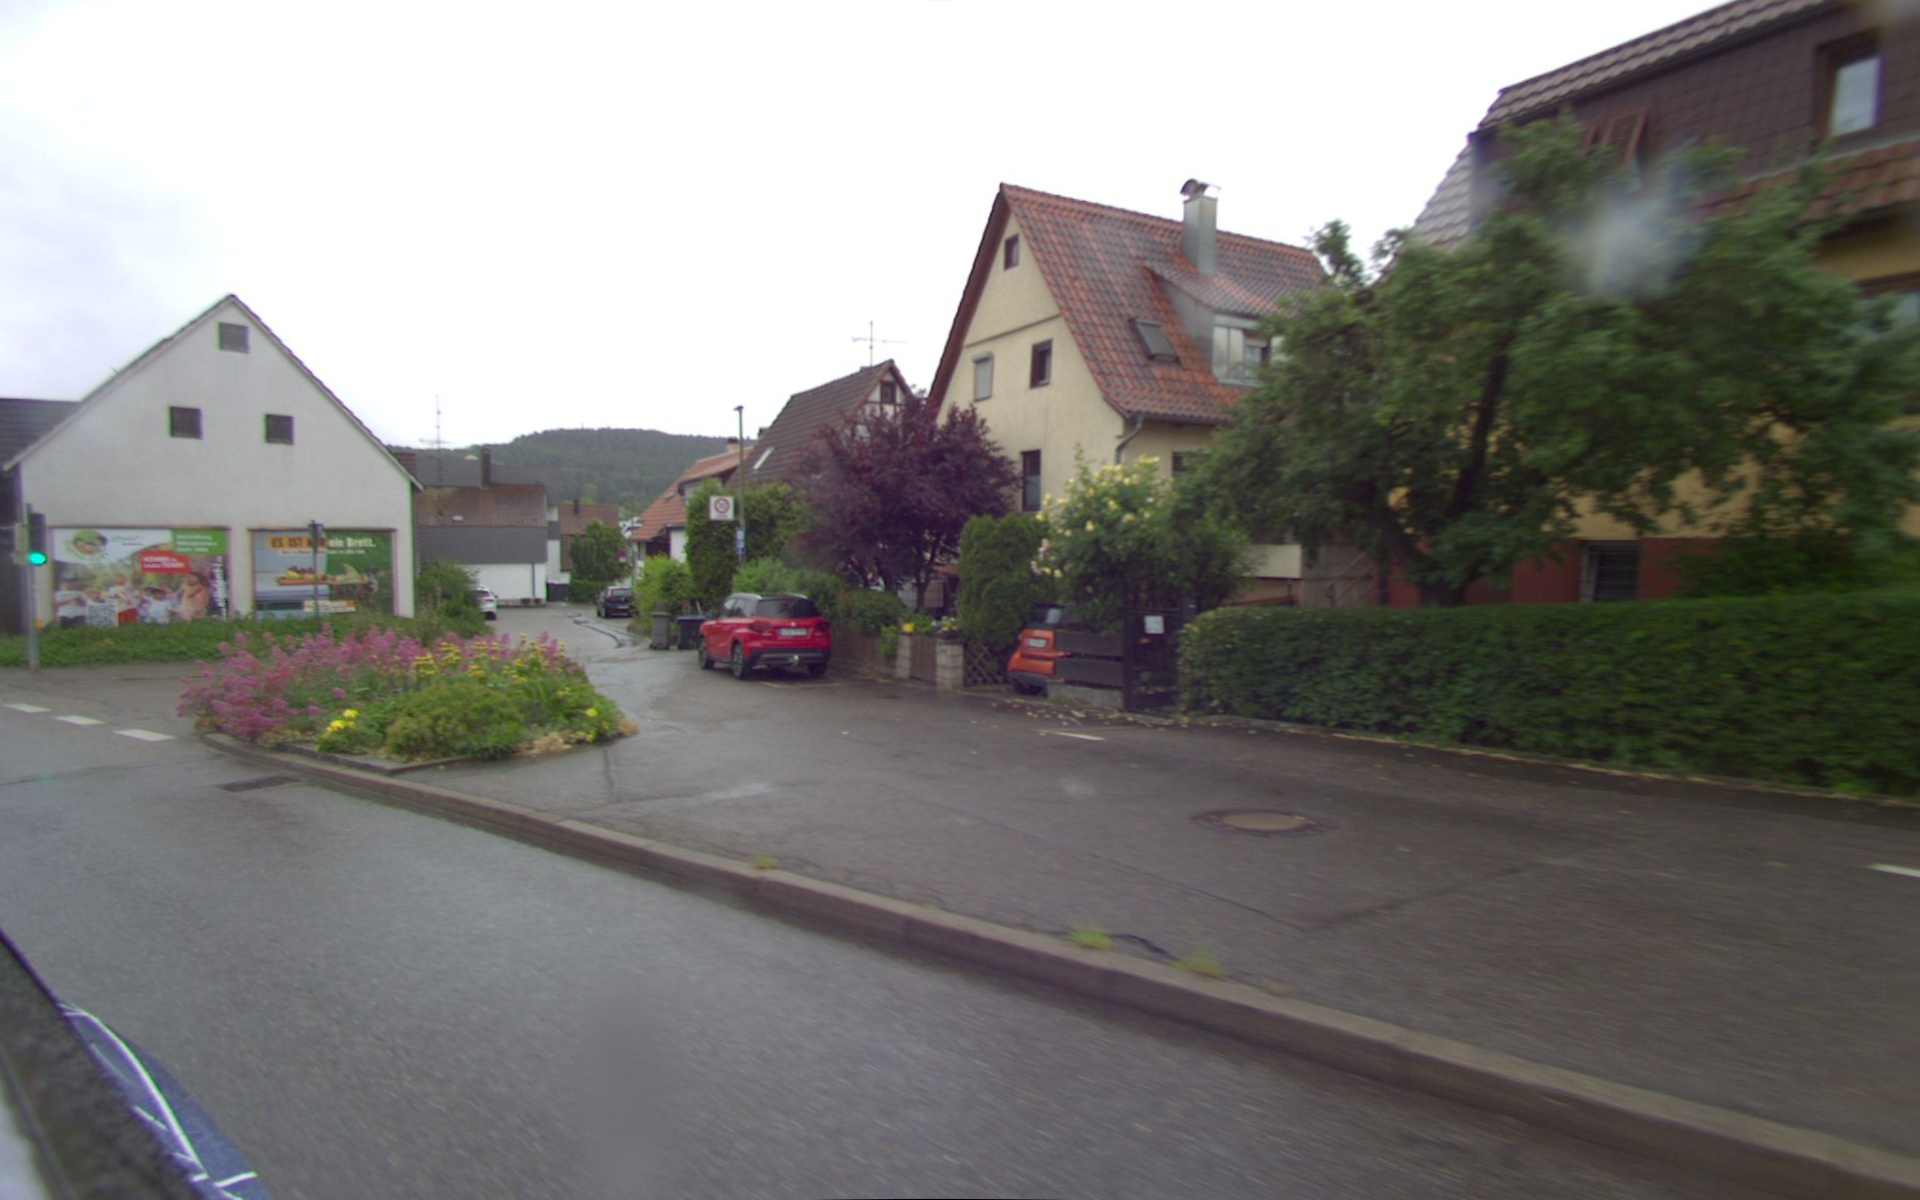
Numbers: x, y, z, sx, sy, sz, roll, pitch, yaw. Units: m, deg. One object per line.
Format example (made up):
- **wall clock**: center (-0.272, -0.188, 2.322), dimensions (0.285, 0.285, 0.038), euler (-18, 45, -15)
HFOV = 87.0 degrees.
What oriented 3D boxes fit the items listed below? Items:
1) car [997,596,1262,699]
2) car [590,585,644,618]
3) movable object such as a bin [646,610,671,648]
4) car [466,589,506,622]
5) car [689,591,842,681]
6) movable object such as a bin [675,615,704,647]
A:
- **car**: center (2.776, 0.682, 16.383), dimensions (3.932, 1.394, 1.869), euler (-2, 0, -31)
- **car**: center (-16.607, 0.063, 48.886), dimensions (1.700, 1.504, 3.981), euler (-1, 0, -30)
- **movable object such as a bin**: center (-8.617, 0.831, 28.944), dimensions (0.569, 1.053, 0.653), euler (-1, 0, -26)
- **car**: center (-21.937, 0.210, 46.791), dimensions (1.393, 1.439, 3.503), euler (-2, 1, -29)
- **car**: center (-3.955, 0.652, 20.060), dimensions (1.724, 1.574, 4.031), euler (-1, 0, -30)
- **movable object such as a bin**: center (-7.830, 0.896, 29.276), dimensions (0.692, 0.894, 0.653), euler (-1, 0, -26)
